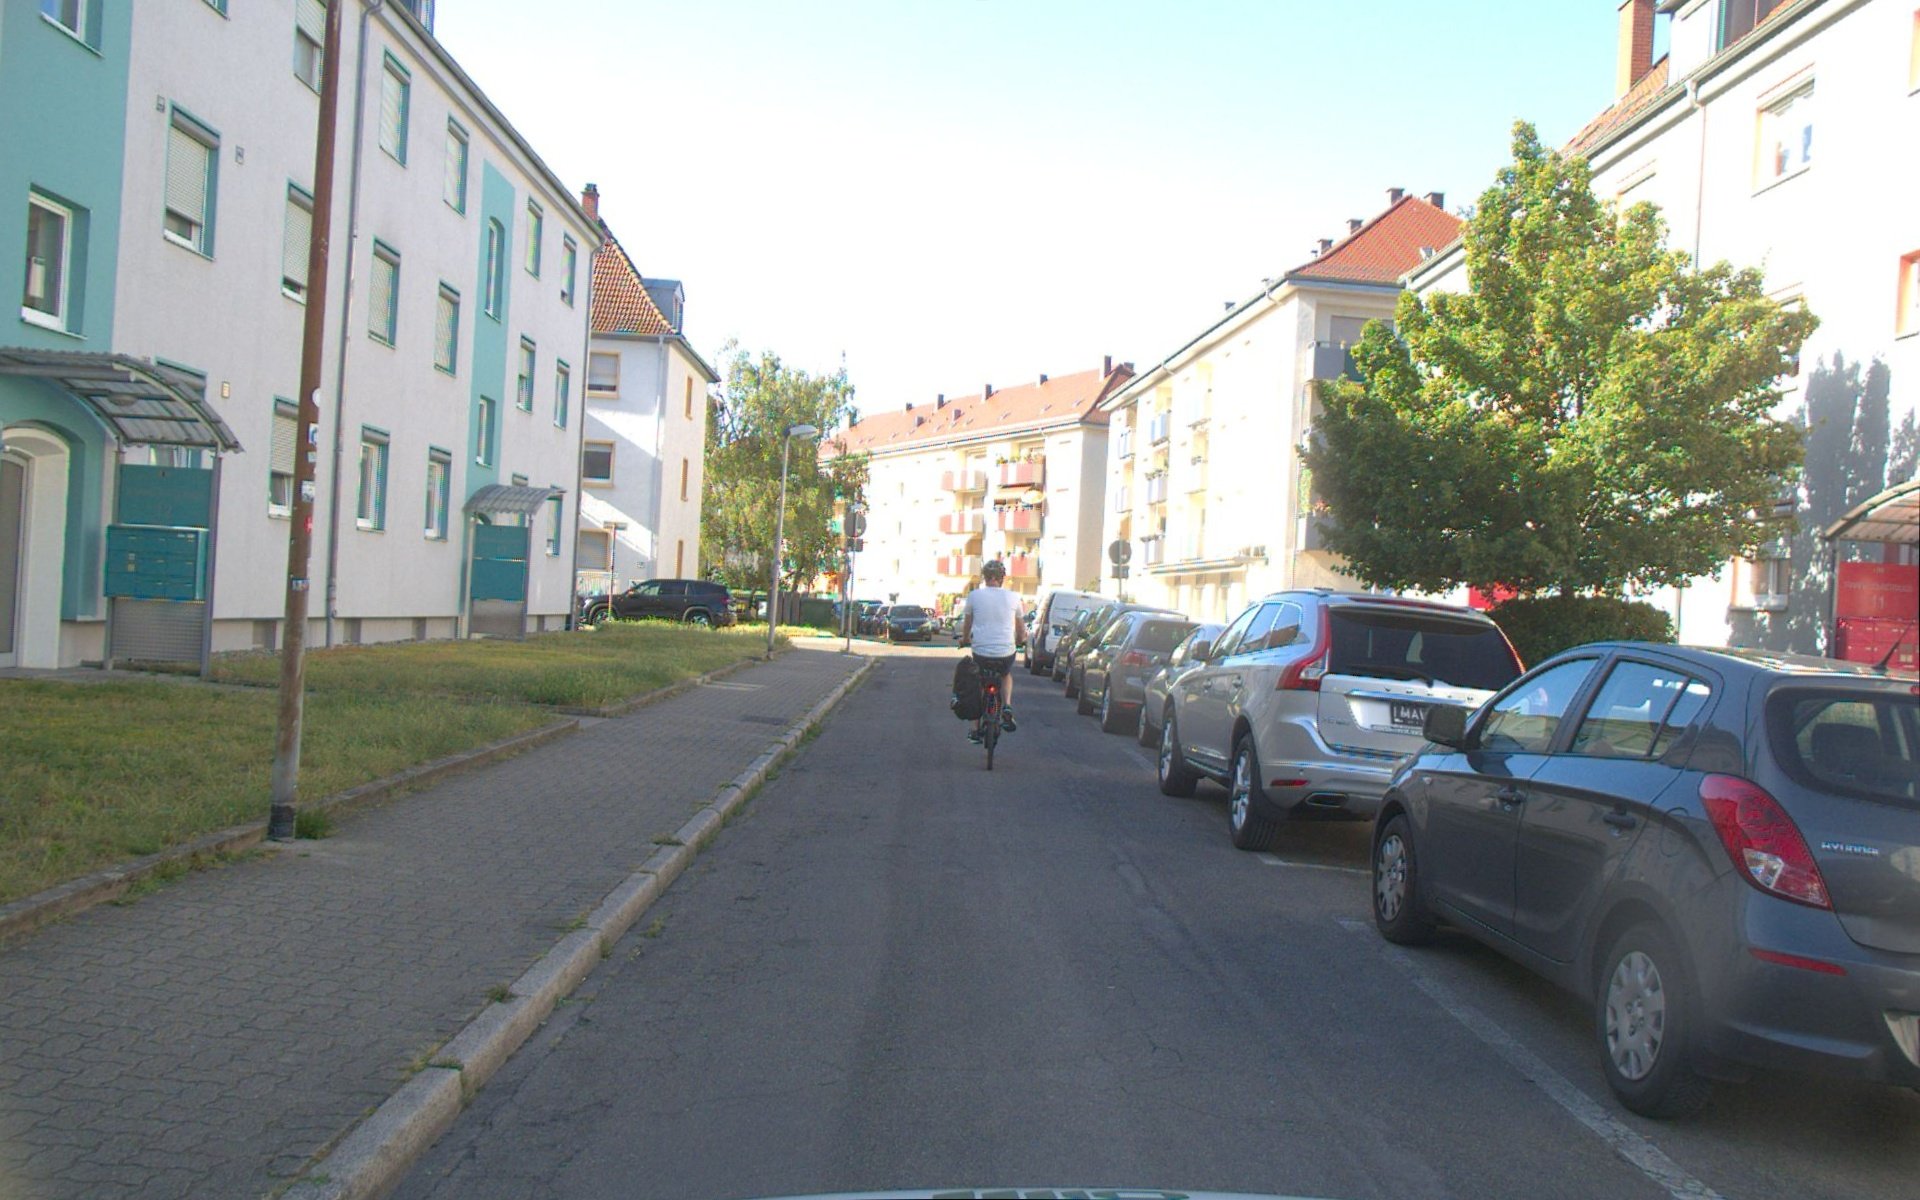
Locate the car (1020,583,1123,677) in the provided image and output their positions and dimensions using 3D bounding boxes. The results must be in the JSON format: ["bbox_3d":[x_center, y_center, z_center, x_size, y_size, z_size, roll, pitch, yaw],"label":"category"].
[{"bbox_3d":[2.306,0.581,35.100,1.641,1.769,3.940,4,0,-3],"label":"car"}]

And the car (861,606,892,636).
[{"bbox_3d":[-3.989,0.983,79.047,1.440,1.358,3.138,-1,0,-4],"label":"car"}]

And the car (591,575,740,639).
[{"bbox_3d":[-8.712,0.207,49.190,4.149,1.667,1.581,3,0,-5],"label":"car"}]

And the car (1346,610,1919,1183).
[{"bbox_3d":[2.920,0.889,6.536,1.586,1.485,3.839,5,0,-3],"label":"car"}]

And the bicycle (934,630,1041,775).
[{"bbox_3d":[0.217,0.885,15.008,0.792,1.148,2.100,2,0,-3],"label":"bicycle"}]

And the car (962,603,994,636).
[{"bbox_3d":[0.909,0.985,84.619,1.354,1.523,3.075,4,0,-3],"label":"car"}]

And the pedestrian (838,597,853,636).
[{"bbox_3d":[-4.439,0.636,64.131,0.425,1.452,0.543,4,0,-1],"label":"pedestrian"}]

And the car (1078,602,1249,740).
[{"bbox_3d":[2.463,0.816,20.848,1.527,1.436,3.933,4,0,-1],"label":"car"}]

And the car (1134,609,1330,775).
[{"bbox_3d":[2.701,0.866,16.997,1.363,1.427,3.244,4,0,-1],"label":"car"}]

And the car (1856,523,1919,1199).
[{"bbox_3d":[2.794,0.787,1.293,1.825,1.696,4.126,6,0,-1],"label":"car"}]

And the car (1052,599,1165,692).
[{"bbox_3d":[2.669,0.787,30.394,1.528,1.478,3.364,4,0,-3],"label":"car"}]

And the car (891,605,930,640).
[{"bbox_3d":[-2.056,0.910,68.066,1.441,1.359,3.137,0,0,-5],"label":"car"}]

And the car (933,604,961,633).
[{"bbox_3d":[-0.786,1.048,97.225,1.440,1.542,3.075,4,0,-3],"label":"car"}]

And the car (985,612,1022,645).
[{"bbox_3d":[2.036,1.336,77.701,1.440,1.358,3.139,4,0,-3],"label":"car"}]

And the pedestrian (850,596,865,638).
[{"bbox_3d":[-3.974,0.668,64.177,0.425,1.601,0.543,4,0,-1],"label":"pedestrian"}]

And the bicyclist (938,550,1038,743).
[{"bbox_3d":[0.245,0.411,15.031,0.792,1.672,0.898,2,0,-3],"label":"bicyclist"}]

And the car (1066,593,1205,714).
[{"bbox_3d":[2.621,0.763,25.398,1.528,1.603,3.364,4,0,-3],"label":"car"}]

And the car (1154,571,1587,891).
[{"bbox_3d":[2.596,0.729,11.596,1.667,1.699,4.377,4,0,-3],"label":"car"}]
